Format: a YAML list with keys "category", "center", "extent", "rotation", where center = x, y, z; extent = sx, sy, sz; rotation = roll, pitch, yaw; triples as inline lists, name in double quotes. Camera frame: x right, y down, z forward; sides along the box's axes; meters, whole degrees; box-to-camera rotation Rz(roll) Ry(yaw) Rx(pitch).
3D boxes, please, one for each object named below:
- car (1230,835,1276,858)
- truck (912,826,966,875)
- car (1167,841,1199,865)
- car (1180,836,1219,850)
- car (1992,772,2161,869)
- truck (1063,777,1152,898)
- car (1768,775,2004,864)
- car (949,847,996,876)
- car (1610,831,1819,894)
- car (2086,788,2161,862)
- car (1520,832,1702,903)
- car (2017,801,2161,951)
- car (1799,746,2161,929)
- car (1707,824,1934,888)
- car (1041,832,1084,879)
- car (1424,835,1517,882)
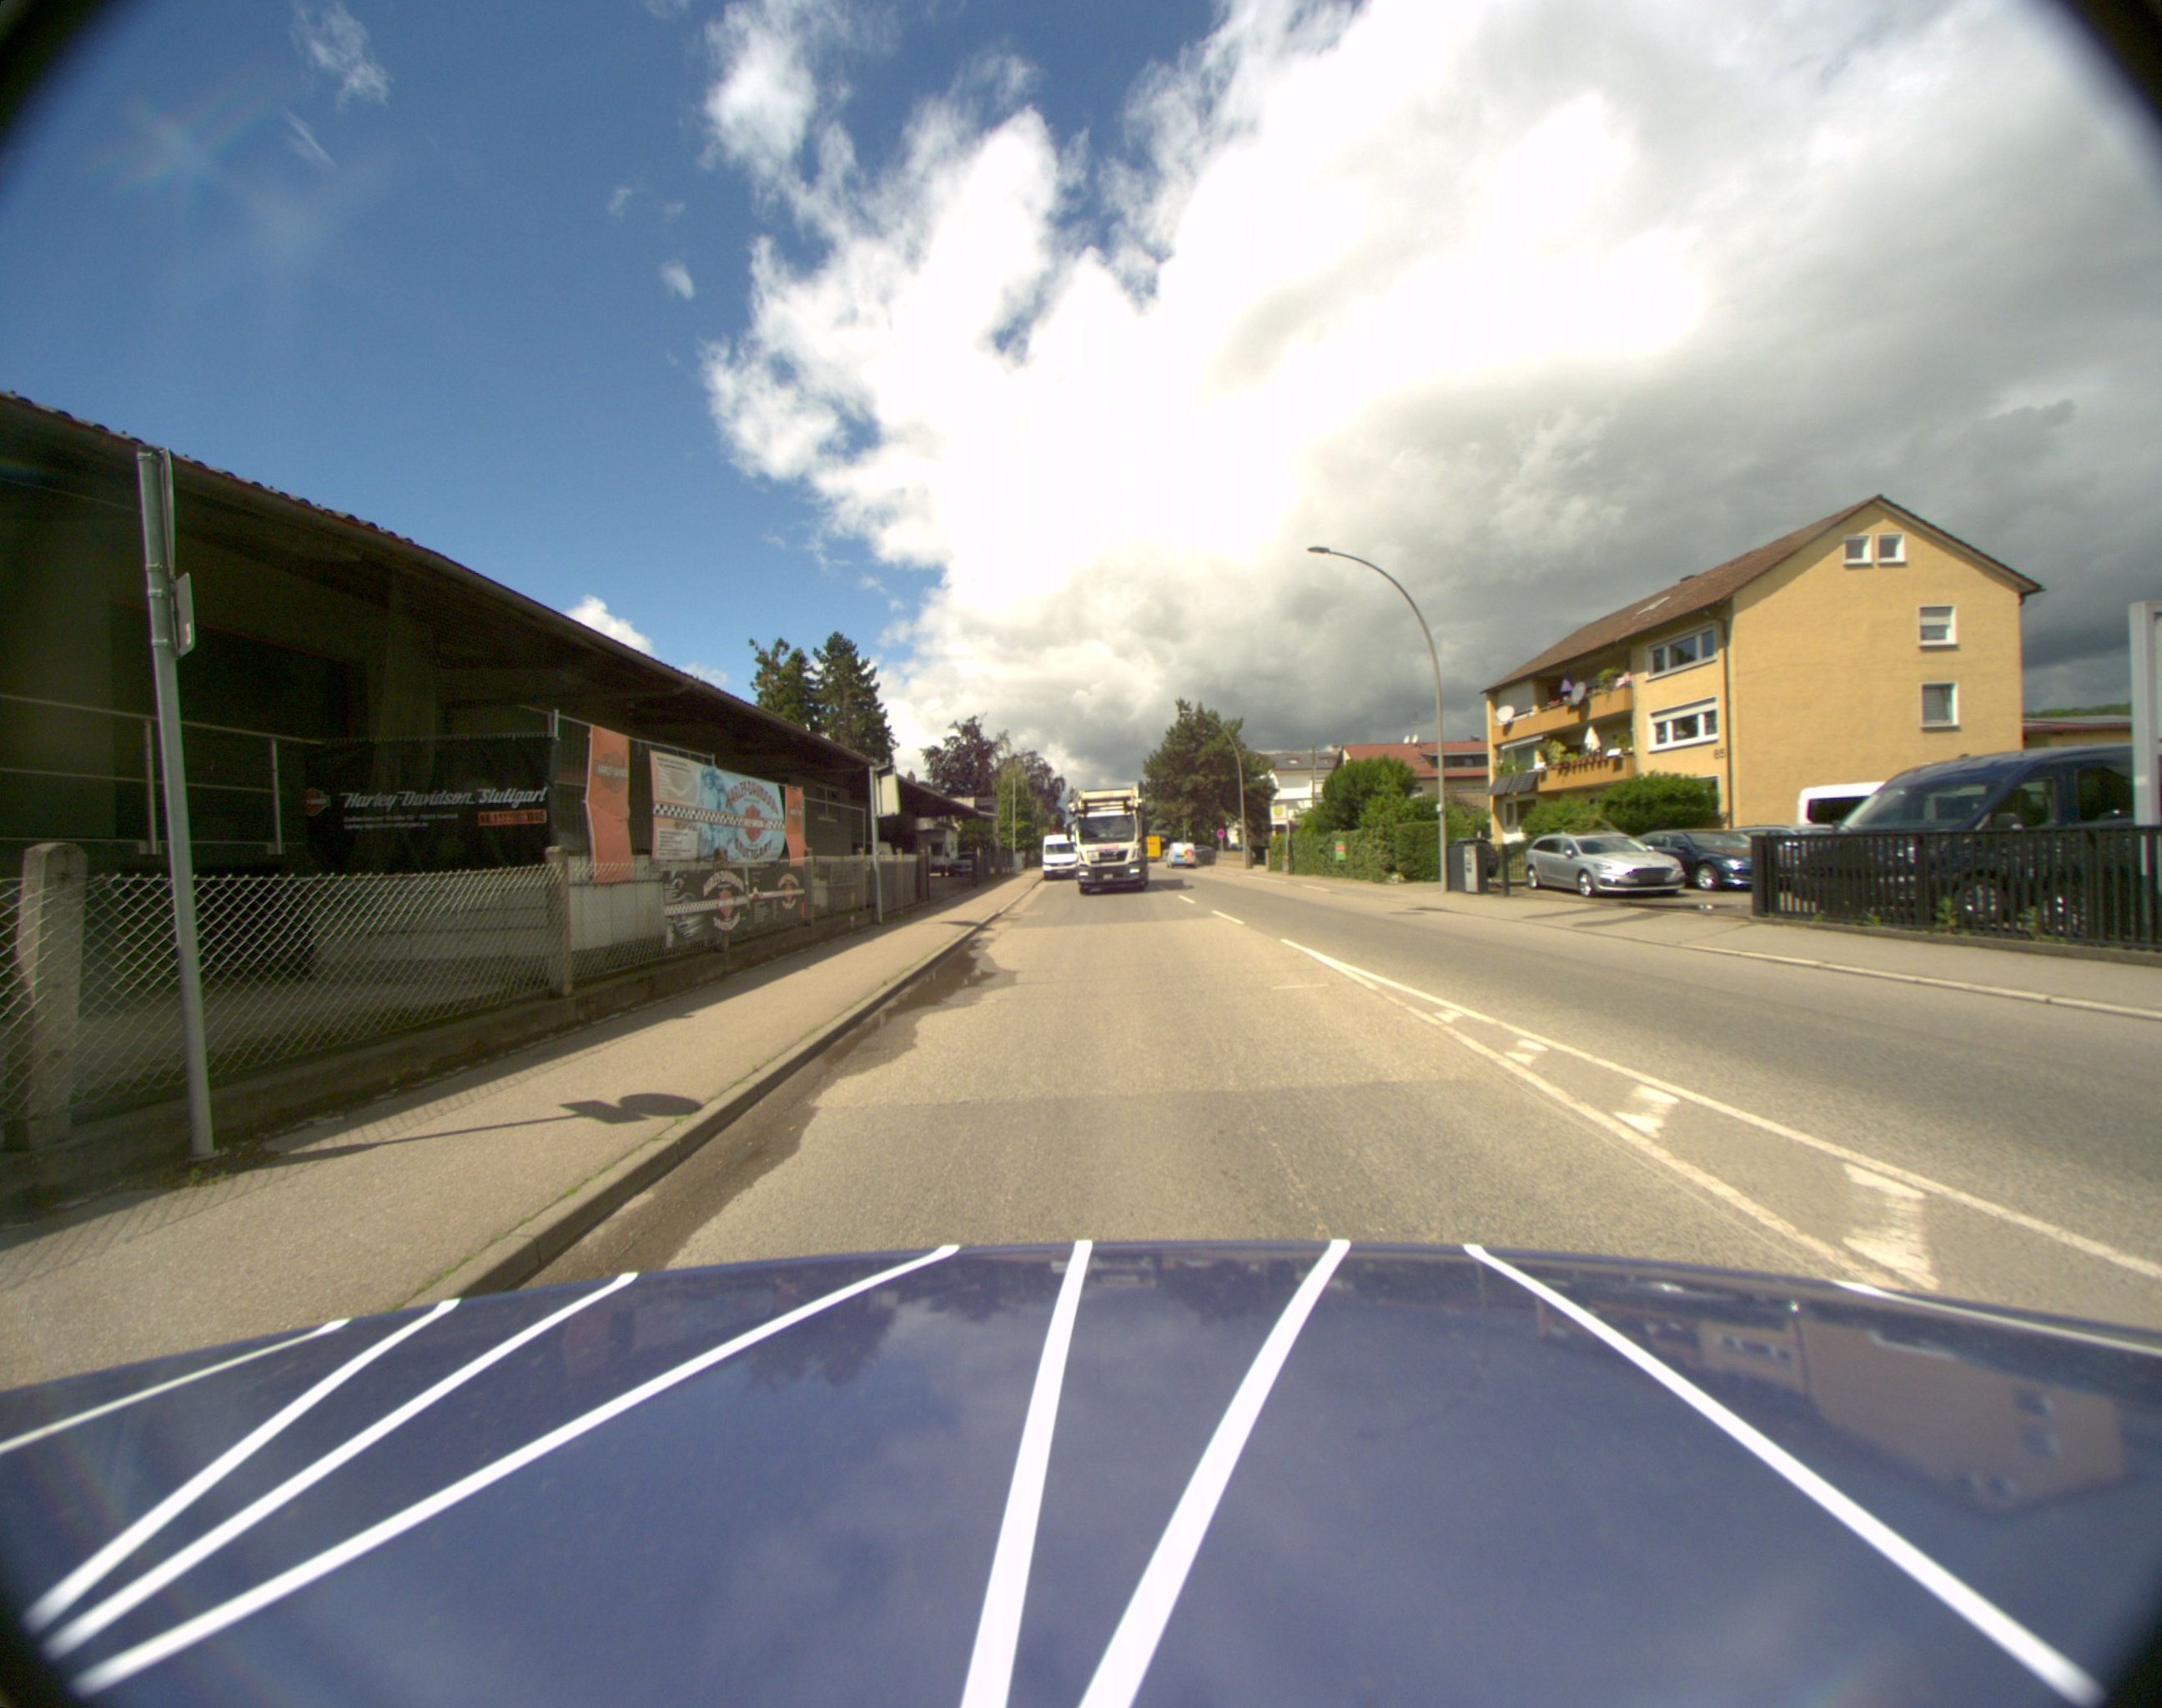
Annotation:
- category: "car"
  center: [16.337, -0.698, 72.406]
  extent: [2.003, 2.002, 3.990]
  rotation: [-3, 1, -31]
- category: "truck"
  center: [-8.736, -0.261, 47.264]
  extent: [2.091, 2.812, 5.202]
  rotation: [-2, 1, 2]
- category: "car"
  center: [7.456, -0.125, 55.968]
  extent: [1.730, 1.671, 3.999]
  rotation: [-2, 1, -1]
- category: "car"
  center: [15.614, -1.505, 100.559]
  extent: [4.734, 1.669, 2.218]
  rotation: [-2, 1, -1]
- category: "car"
  center: [26.290, -0.845, 19.116]
  extent: [1.998, 2.256, 3.999]
  rotation: [-2, 1, 2]
- category: "truck"
  center: [1.340, -0.638, 30.044]
  extent: [2.664, 3.789, 9.817]
  rotation: [-4, 1, 6]
- category: "car"
  center: [20.722, -0.847, 19.852]
  extent: [1.998, 2.002, 3.999]
  rotation: [-2, 1, 2]
- category: "car"
  center: [-6.462, 0.416, 45.857]
  extent: [1.862, 1.521, 5.202]
  rotation: [-2, 1, 2]
- category: "car"
  center: [15.378, 0.148, 18.774]
  extent: [1.885, 1.334, 3.999]
  rotation: [-2, 1, 2]
- category: "car"
  center: [28.994, -0.774, 19.190]
  extent: [1.998, 1.915, 3.999]
  rotation: [-2, 1, 2]
- category: "car"
  center: [12.609, 0.242, 18.466]
  extent: [1.887, 1.450, 4.352]
  rotation: [-3, 1, 9]
- category: "car"
  center: [12.496, 0.210, 7.614]
  extent: [1.813, 1.612, 3.621]
  rotation: [-2, 1, 2]
- category: "car"
  center: [14.390, -0.279, 11.259]
  extent: [5.363, 2.371, 2.104]
  rotation: [-2, 1, 3]
- category: "car"
  center: [18.340, 0.007, 19.141]
  extent: [1.883, 1.364, 3.999]
  rotation: [-2, 1, 2]
- category: "car"
  center: [-0.993, 0.034, 44.048]
  extent: [2.091, 2.519, 5.202]
  rotation: [-2, 1, 2]
- category: "car"
  center: [14.974, 0.129, 29.419]
  extent: [1.831, 1.656, 3.522]
  rotation: [-2, 1, 2]
